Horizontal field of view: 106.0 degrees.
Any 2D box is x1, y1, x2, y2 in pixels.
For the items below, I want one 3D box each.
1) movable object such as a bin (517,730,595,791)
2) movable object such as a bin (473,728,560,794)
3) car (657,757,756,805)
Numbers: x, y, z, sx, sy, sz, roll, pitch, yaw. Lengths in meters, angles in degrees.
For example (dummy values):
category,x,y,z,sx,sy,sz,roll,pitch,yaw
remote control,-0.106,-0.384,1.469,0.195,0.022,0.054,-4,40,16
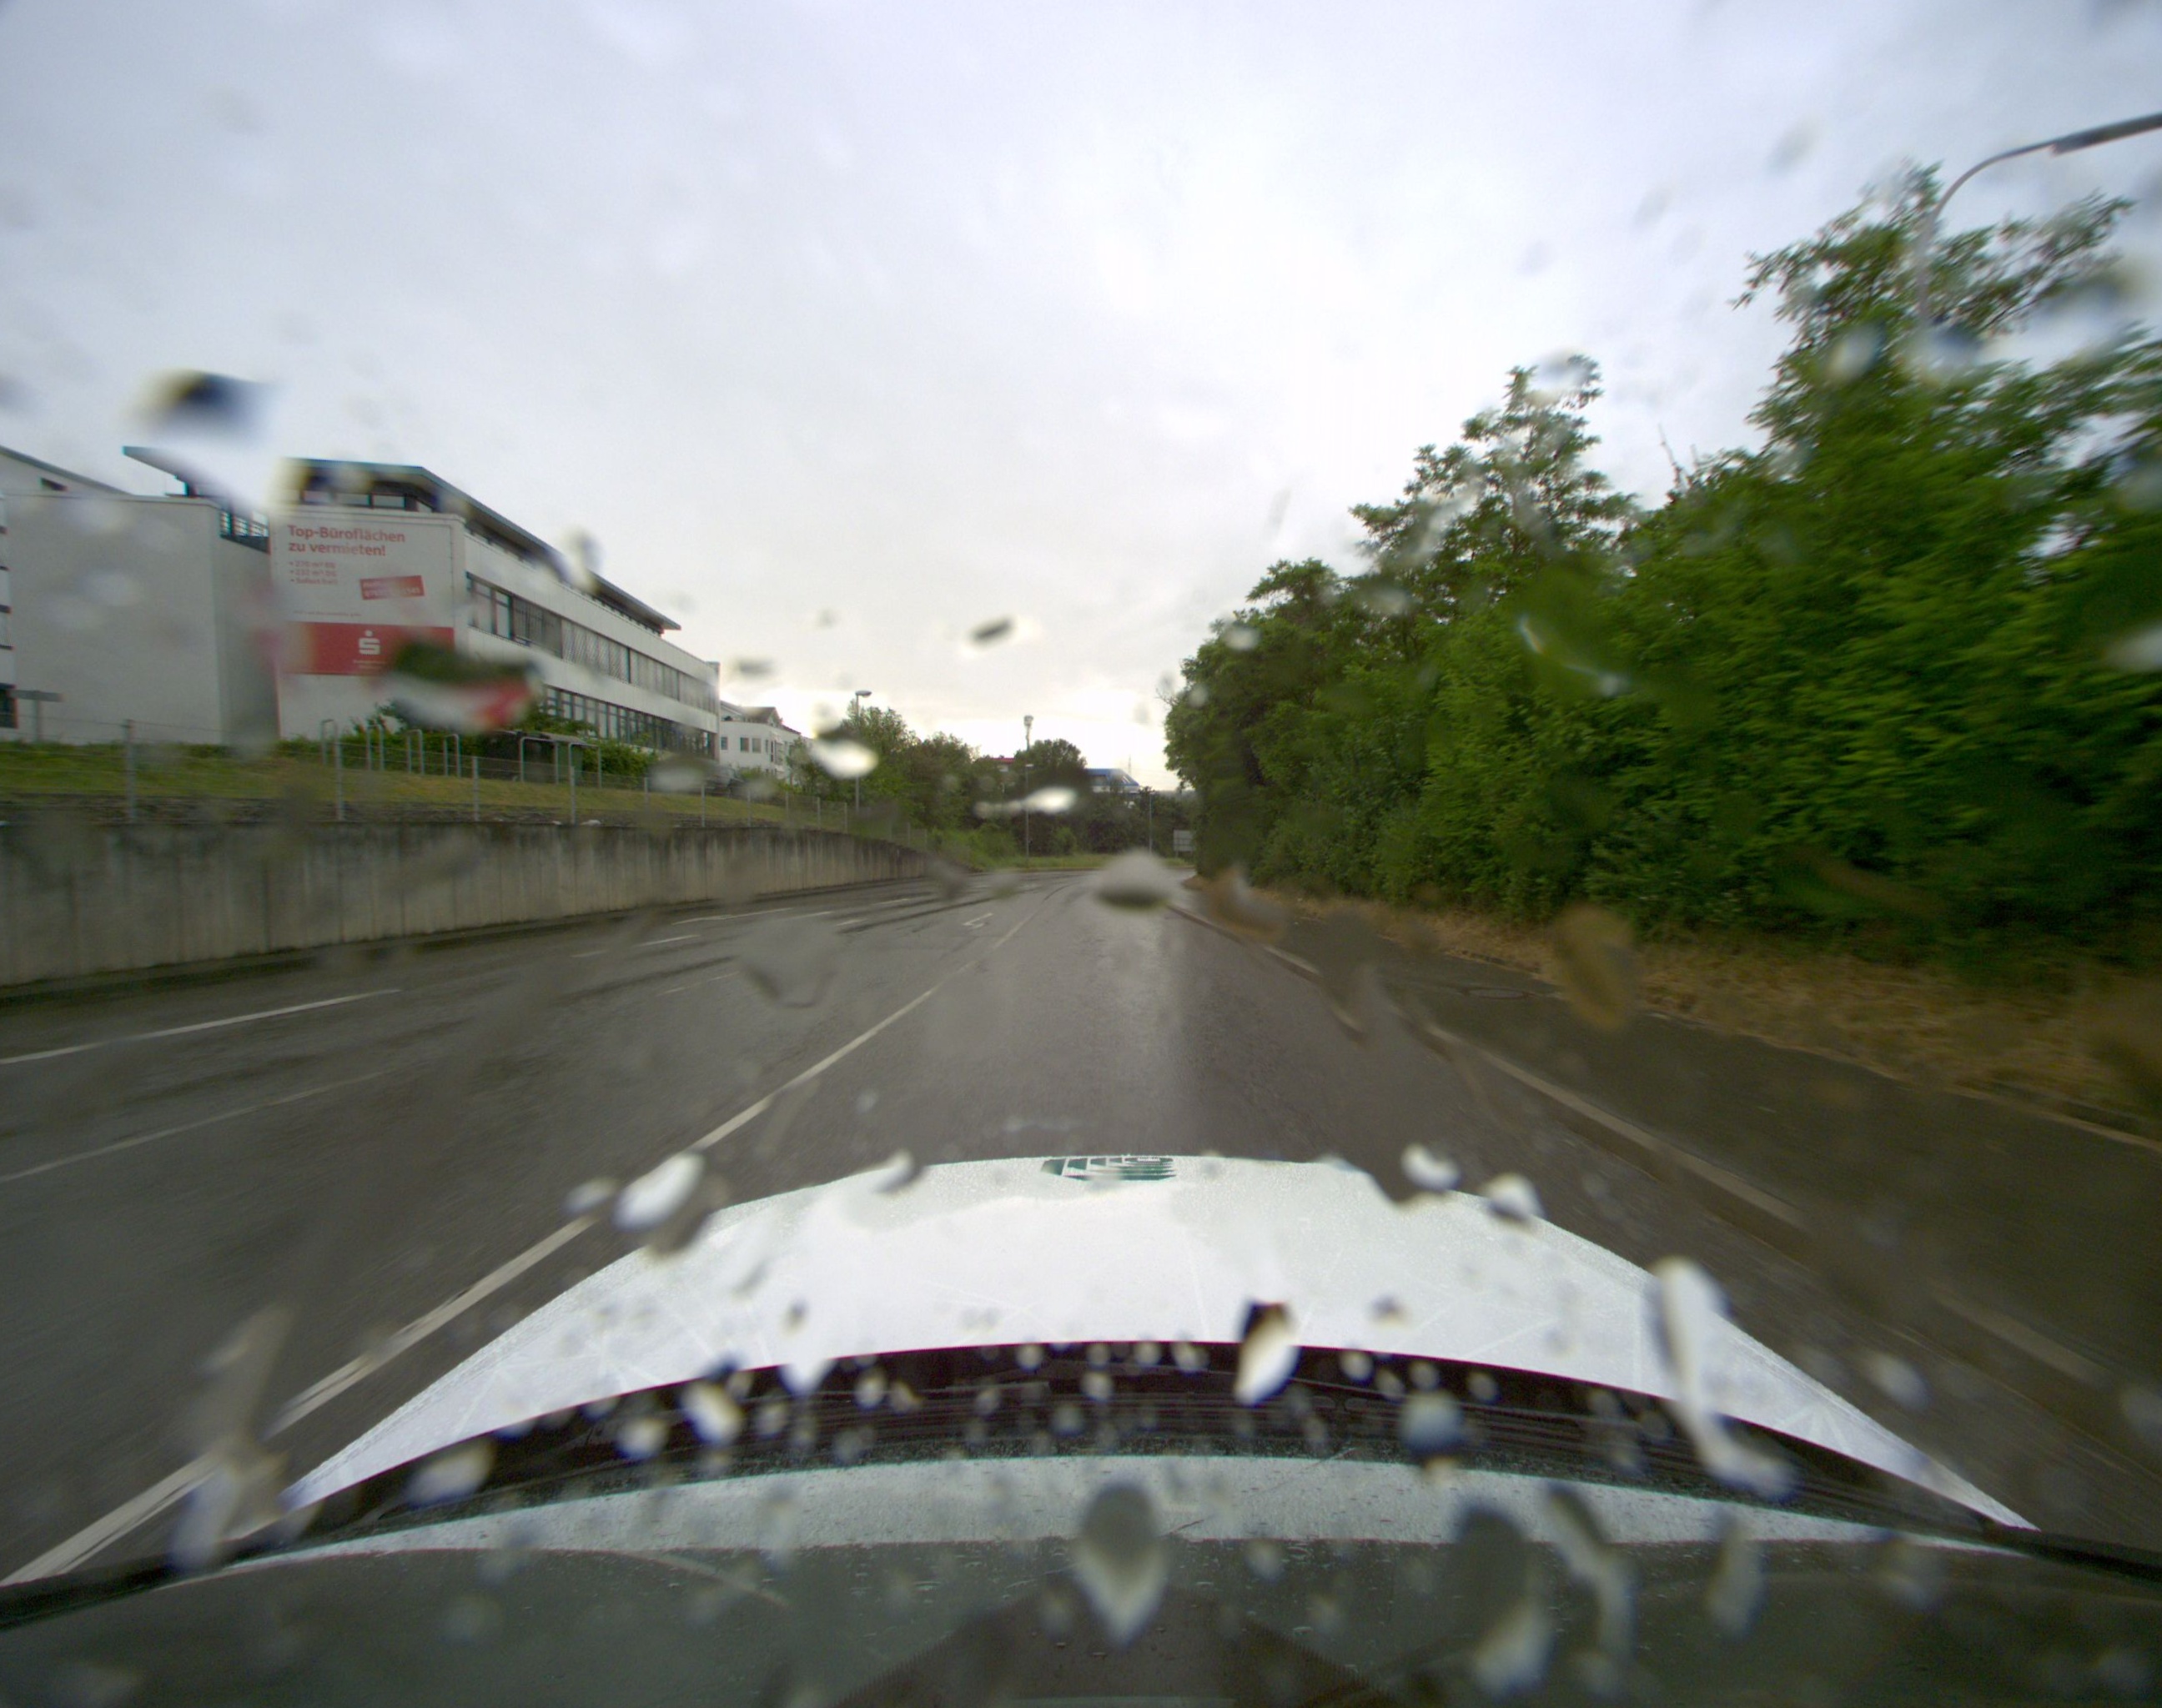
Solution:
category,x,y,z,sx,sy,sz,roll,pitch,yaw
movable object such as a bin,-13.884,-2.459,21.575,1.080,1.437,1.446,1,0,0
movable object such as a bin,-13.898,-2.267,20.099,1.080,1.437,1.446,1,0,0
car,-14.053,-2.711,30.825,1.821,1.442,4.000,1,0,0
